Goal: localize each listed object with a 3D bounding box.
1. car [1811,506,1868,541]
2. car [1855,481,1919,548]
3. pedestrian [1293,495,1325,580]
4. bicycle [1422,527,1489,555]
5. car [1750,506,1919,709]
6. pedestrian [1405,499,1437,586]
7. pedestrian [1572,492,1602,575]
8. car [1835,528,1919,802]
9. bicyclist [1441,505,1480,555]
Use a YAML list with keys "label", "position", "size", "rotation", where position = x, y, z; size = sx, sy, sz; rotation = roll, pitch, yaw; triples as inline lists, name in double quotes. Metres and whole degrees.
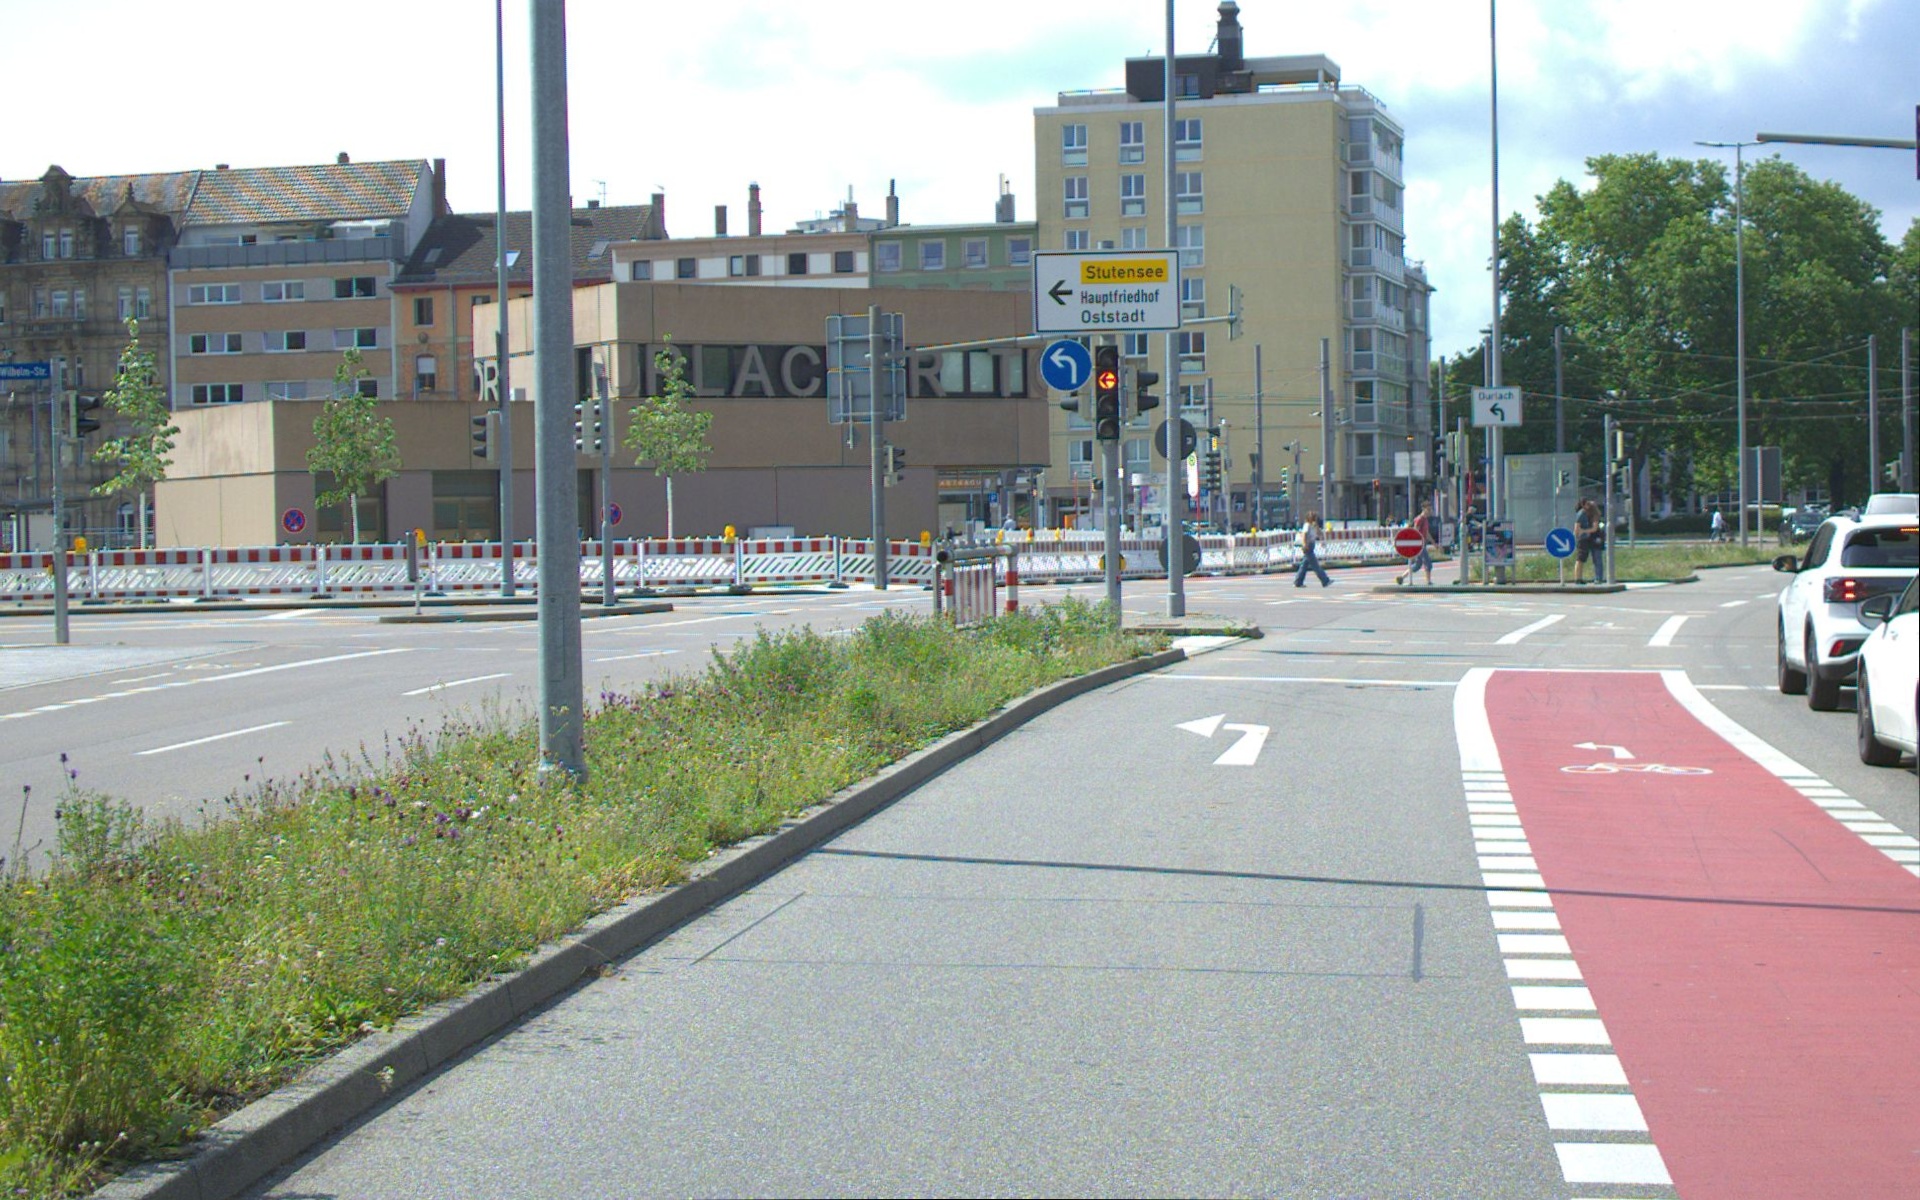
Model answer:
- label: "car"
  position: [35.184, -3.069, 137.438]
  size: [1.794, 1.383, 4.223]
  rotation: [0, 1, 20]
- label: "car"
  position: [28.764, -2.593, 103.917]
  size: [2.009, 1.960, 4.631]
  rotation: [-1, 1, 31]
- label: "pedestrian"
  position: [7.184, -1.289, 70.715]
  size: [0.525, 1.727, 0.623]
  rotation: [0, 1, 17]
- label: "bicycle"
  position: [18.935, -2.261, 131.479]
  size: [2.382, 1.063, 0.857]
  rotation: [0, 1, 28]
- label: "car"
  position: [7.593, 0.006, 28.186]
  size: [1.791, 1.534, 4.010]
  rotation: [1, 2, 8]
- label: "pedestrian"
  position: [9.221, -1.160, 68.791]
  size: [0.525, 1.727, 0.623]
  rotation: [0, 1, 17]
- label: "pedestrian"
  position: [12.723, -1.346, 69.733]
  size: [0.525, 1.678, 0.623]
  rotation: [0, 1, 17]
- label: "car"
  position: [6.297, 0.307, 19.905]
  size: [1.904, 1.419, 4.384]
  rotation: [-1, 2, 8]
- label: "bicyclist"
  position: [19.116, -2.678, 131.366]
  size: [1.221, 1.903, 0.857]
  rotation: [0, 1, 28]
